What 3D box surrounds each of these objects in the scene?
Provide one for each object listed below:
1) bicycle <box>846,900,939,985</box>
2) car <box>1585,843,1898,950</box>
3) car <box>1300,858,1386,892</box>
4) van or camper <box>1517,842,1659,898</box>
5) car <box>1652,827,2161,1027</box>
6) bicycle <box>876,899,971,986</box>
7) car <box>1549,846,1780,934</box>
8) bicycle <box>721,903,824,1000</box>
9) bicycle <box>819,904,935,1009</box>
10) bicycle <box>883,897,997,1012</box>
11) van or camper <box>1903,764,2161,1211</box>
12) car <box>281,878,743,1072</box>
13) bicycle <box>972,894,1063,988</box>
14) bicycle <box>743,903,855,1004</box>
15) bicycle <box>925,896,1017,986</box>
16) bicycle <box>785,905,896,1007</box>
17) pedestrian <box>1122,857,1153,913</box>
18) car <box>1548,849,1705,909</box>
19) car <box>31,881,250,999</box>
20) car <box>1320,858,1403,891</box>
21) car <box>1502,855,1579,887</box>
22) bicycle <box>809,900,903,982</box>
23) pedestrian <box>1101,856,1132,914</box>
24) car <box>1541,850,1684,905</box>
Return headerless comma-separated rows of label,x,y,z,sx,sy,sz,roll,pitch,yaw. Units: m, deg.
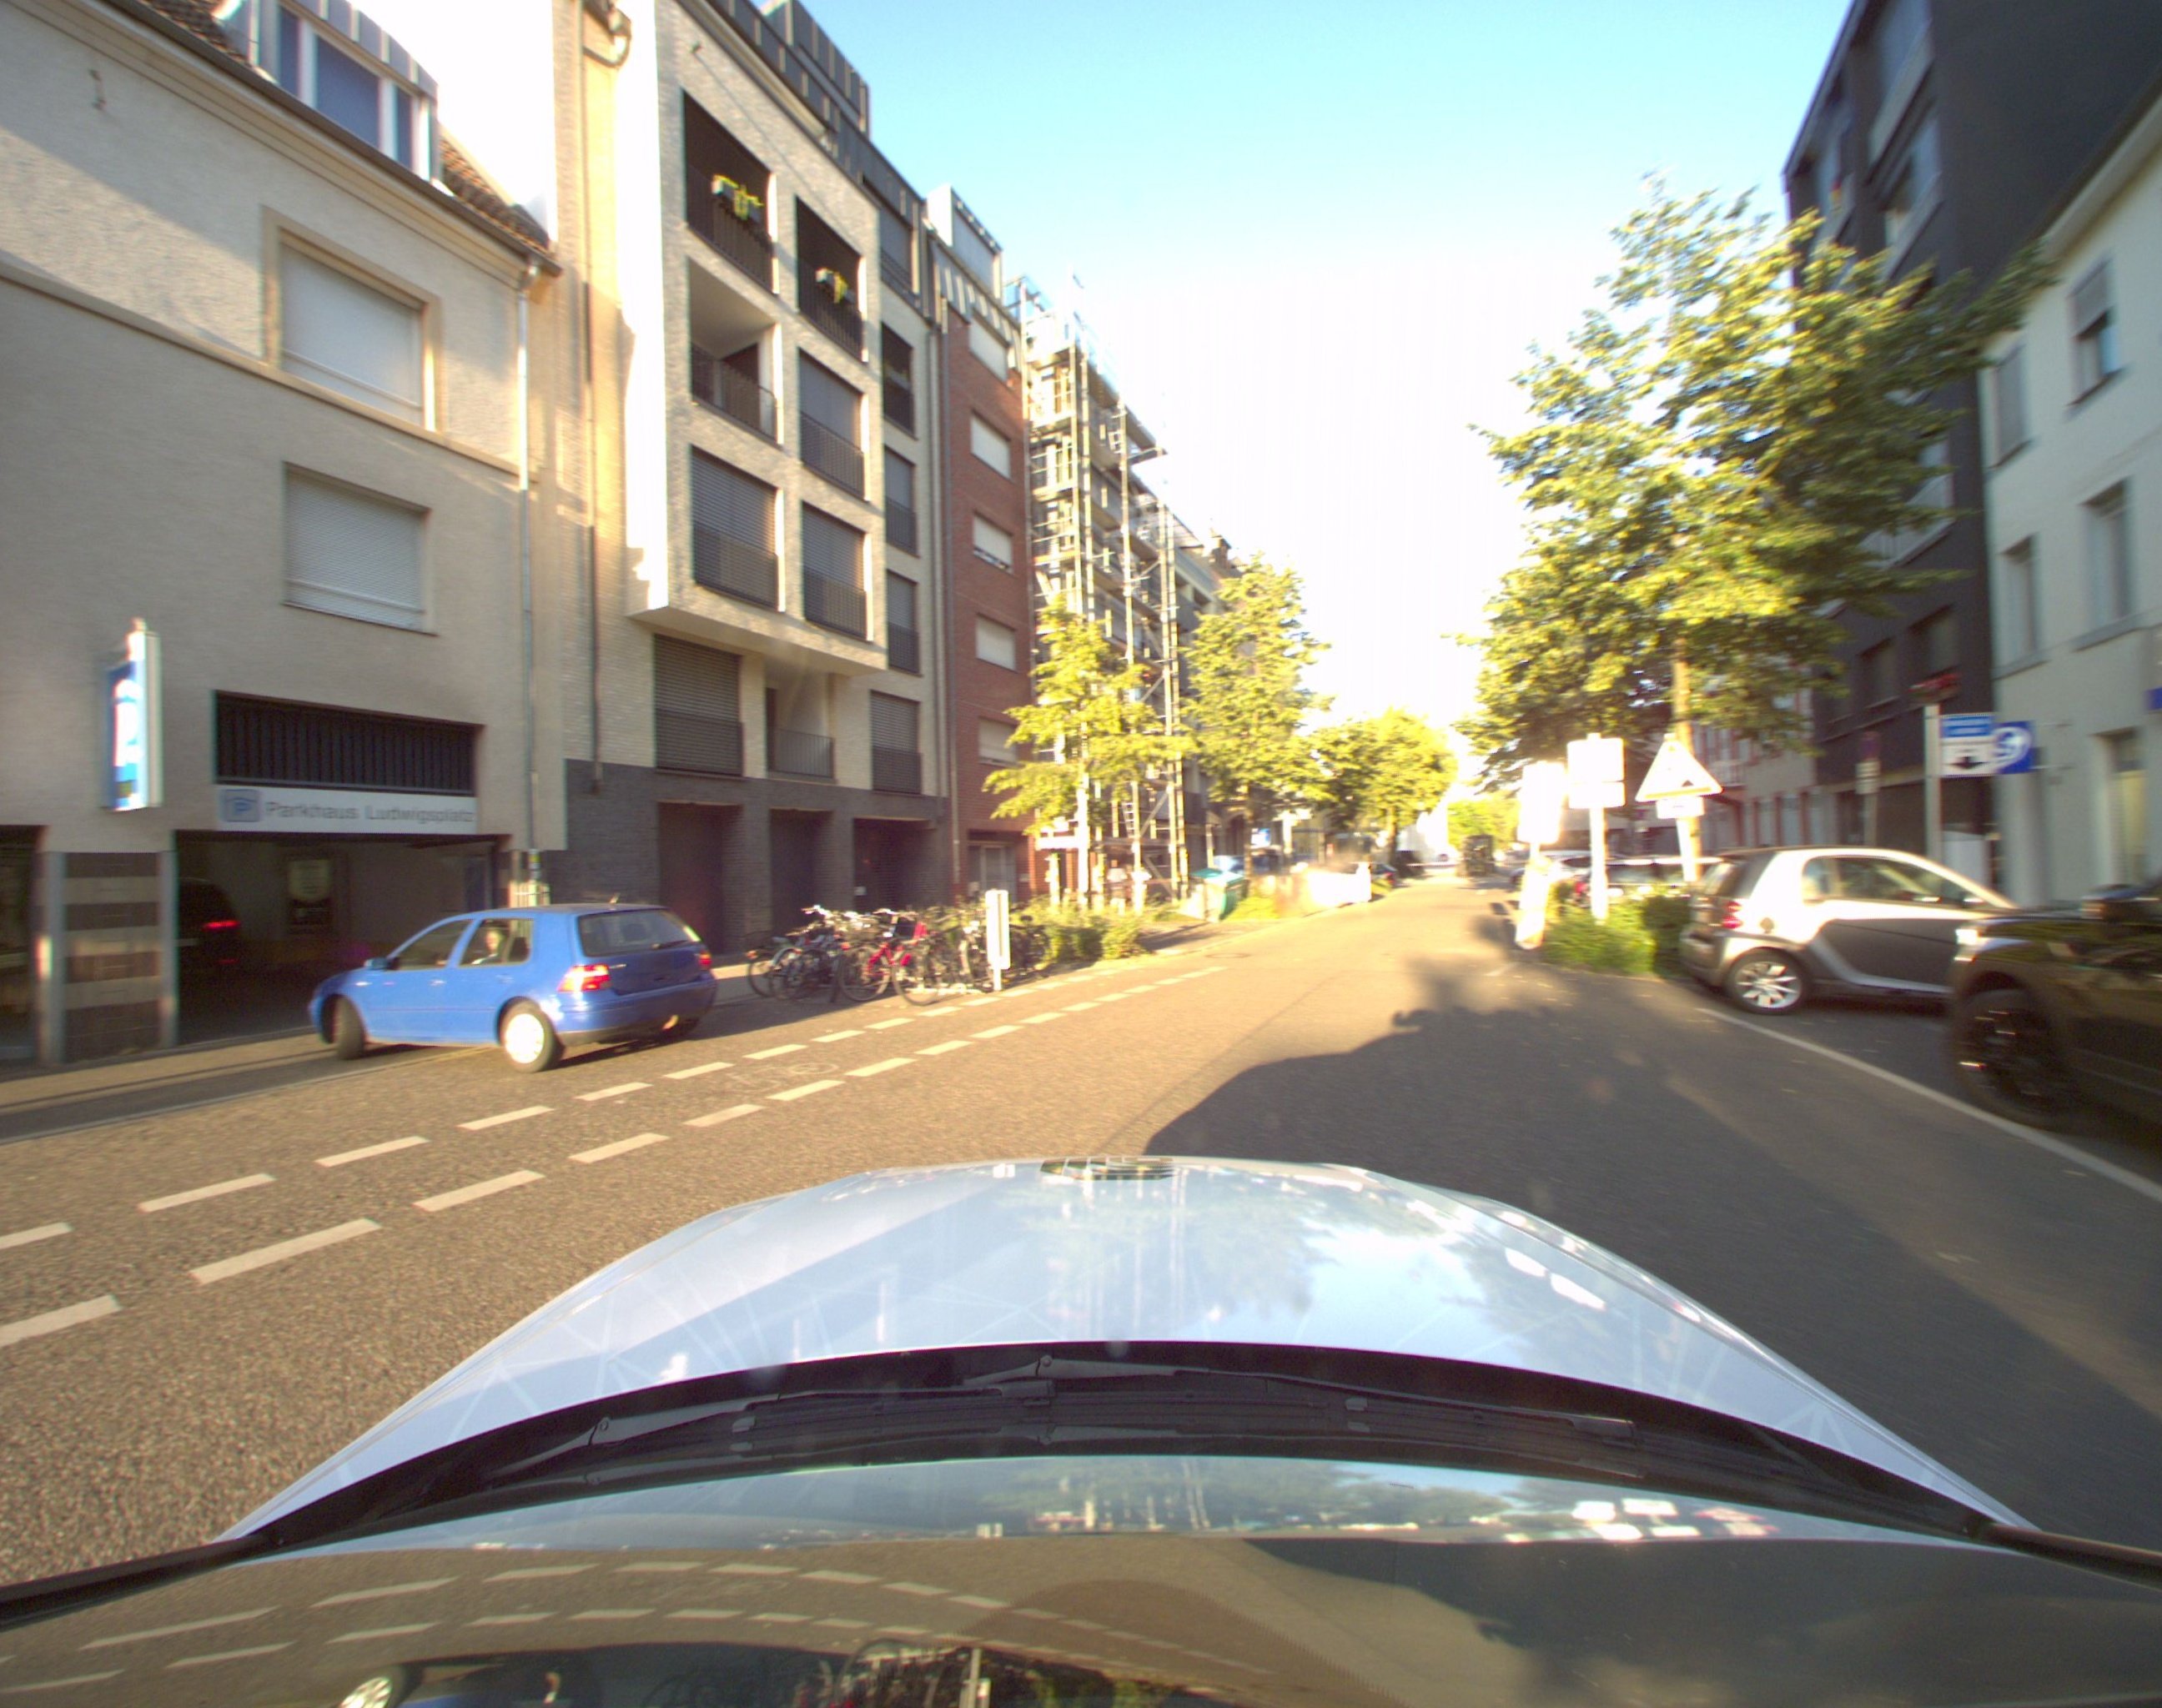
bicycle,-2.880,1.331,12.601,0.463,1.144,1.561,-2,-1,28
car,11.329,0.686,14.380,3.959,1.670,1.869,-1,0,26
car,13.687,1.109,42.567,3.949,1.684,1.903,-2,-1,30
van or camper,19.192,0.594,31.096,4.399,2.005,1.869,-1,0,25
car,7.615,0.616,7.650,3.438,1.576,1.516,-2,-1,25
bicycle,-2.321,1.281,12.181,0.482,1.150,1.561,-2,-1,28
car,11.976,0.700,17.040,3.651,1.670,1.869,-1,0,26
bicycle,-4.240,1.308,11.288,0.383,1.183,1.414,-2,-1,28
bicycle,-2.584,1.265,10.455,0.413,1.157,1.562,-2,-1,33
bicycle,-1.696,1.181,10.009,0.492,1.220,1.561,-2,-1,28
van or camper,5.071,0.523,2.560,1.873,1.807,4.485,-1,-1,22
car,-5.686,1.129,8.180,4.071,1.563,1.702,-3,-2,19
bicycle,-0.871,1.189,11.592,0.502,1.179,1.561,-2,-1,28
bicycle,-3.776,1.296,11.019,0.382,1.189,1.561,-2,-1,28
bicycle,-1.584,1.229,11.952,0.482,1.163,1.561,-2,-1,28
bicycle,-3.111,1.286,10.657,0.377,1.160,1.561,-2,-1,28
pedestrian,1.856,1.005,26.664,0.734,1.783,0.660,-3,-2,26
car,16.078,0.718,24.243,3.651,1.670,1.869,-1,0,26
car,-15.188,1.280,13.120,3.831,1.618,1.570,-1,-1,29
car,15.405,1.113,44.708,3.949,1.684,1.903,-2,-1,30
car,23.980,0.854,42.483,3.707,1.568,1.841,0,0,-29
bicycle,-3.520,1.336,12.876,0.453,1.132,1.561,-2,-1,28
pedestrian,1.137,0.986,25.972,0.734,1.783,0.660,-3,-2,28
car,17.072,0.729,26.393,3.651,1.670,1.869,-1,0,26
